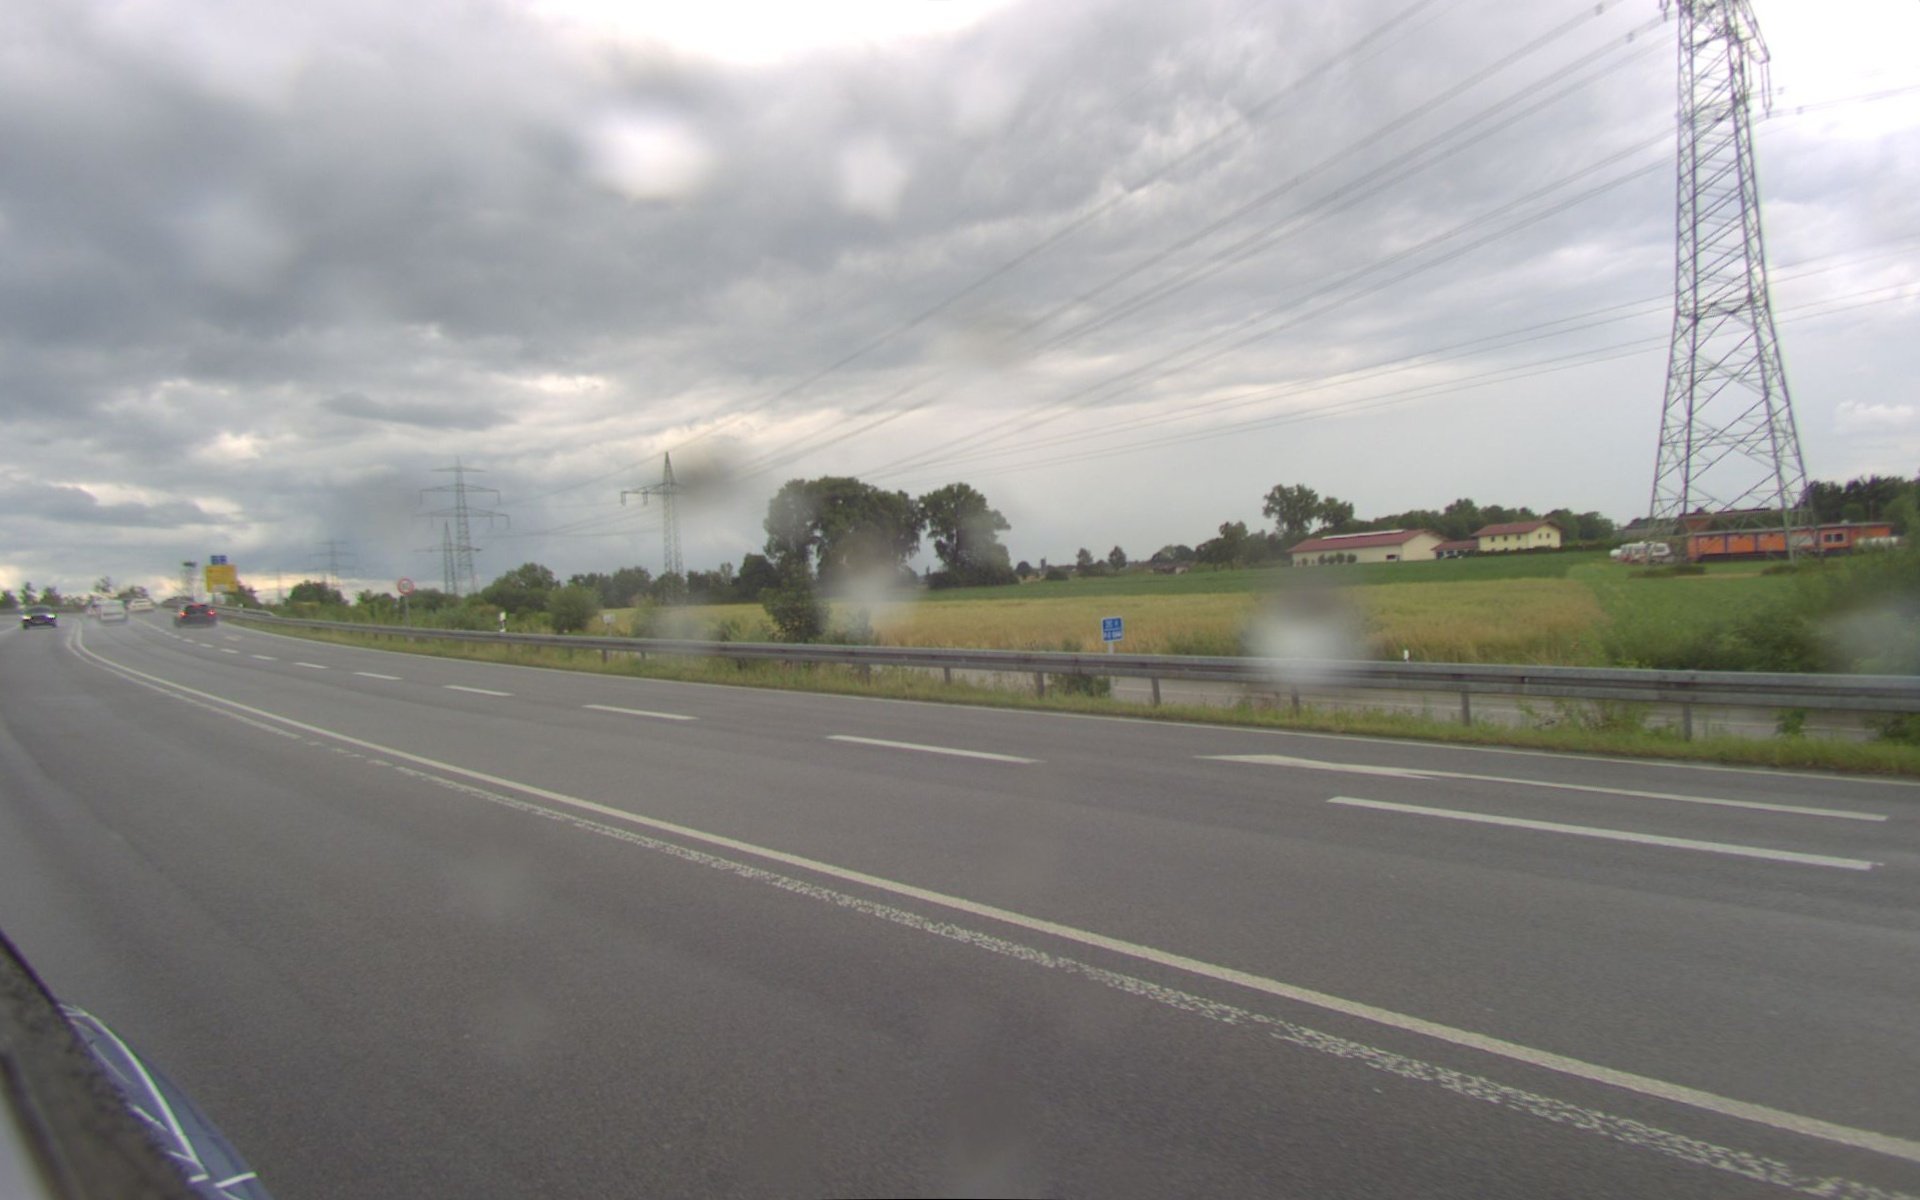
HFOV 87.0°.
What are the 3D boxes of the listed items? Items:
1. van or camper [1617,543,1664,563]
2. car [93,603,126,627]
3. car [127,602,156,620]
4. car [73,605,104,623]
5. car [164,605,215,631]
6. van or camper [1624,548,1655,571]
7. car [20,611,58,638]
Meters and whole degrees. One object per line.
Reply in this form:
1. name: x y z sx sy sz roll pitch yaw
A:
1. van or camper: 103.726 -7.149 154.361 5.699 2.651 2.304 -2 3 33
2. car: -60.764 1.035 72.321 1.767 1.678 4.377 0 -1 -40
3. car: -81.302 1.062 100.469 1.920 1.672 4.651 -4 3 -42
4. car: -76.465 1.243 88.796 1.743 1.511 4.219 0 0 -36
5. car: -46.577 1.069 61.126 1.874 1.452 4.903 0 0 -45
6. van or camper: 87.568 -5.207 130.437 2.315 2.651 5.673 -2 3 24
7. car: -67.429 1.810 74.097 1.769 1.782 4.007 -3 0 -39
